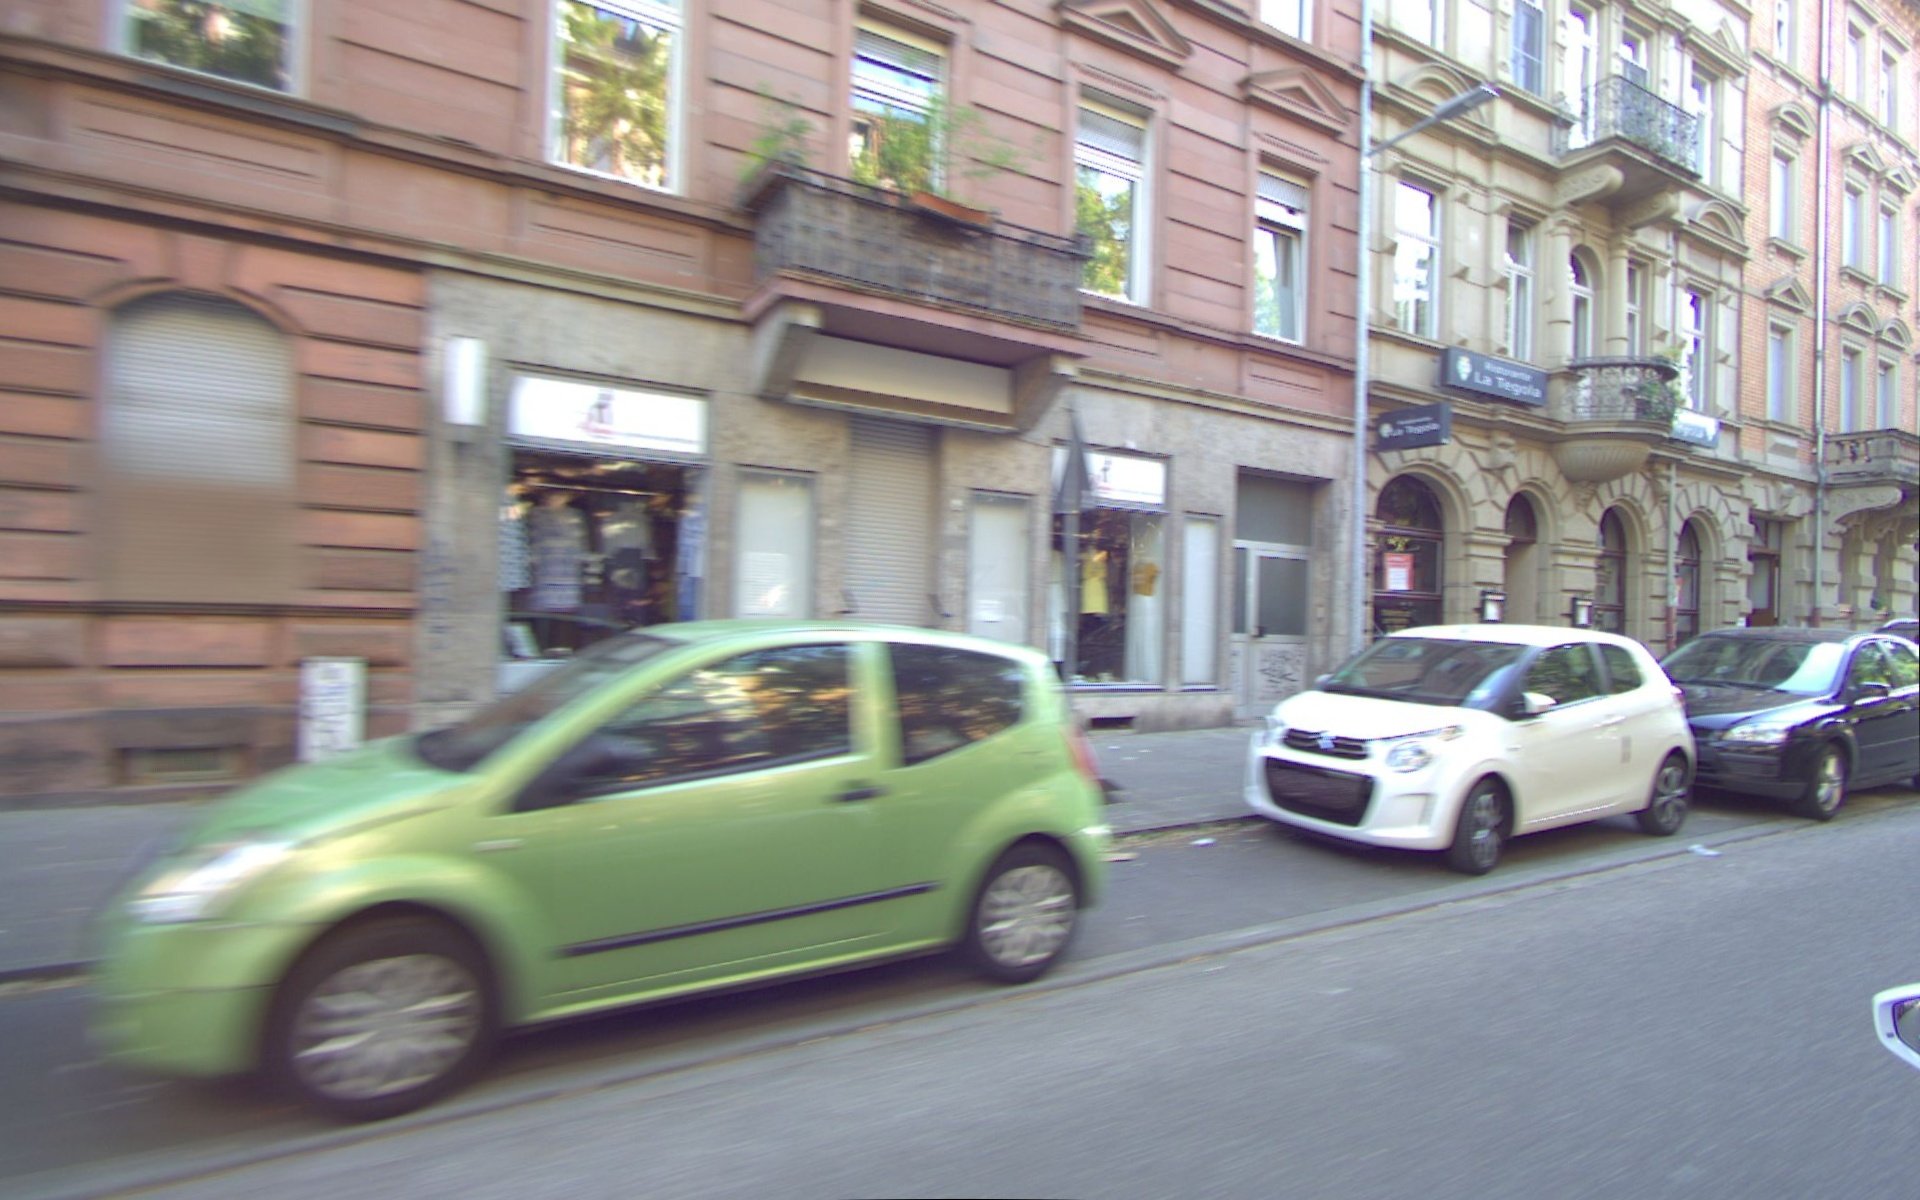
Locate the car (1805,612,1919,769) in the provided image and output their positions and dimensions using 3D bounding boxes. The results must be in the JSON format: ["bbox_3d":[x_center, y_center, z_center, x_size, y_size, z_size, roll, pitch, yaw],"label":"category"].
[{"bbox_3d":[11.615,1.000,11.732,4.008,1.595,1.636,1,2,-35],"label":"car"}]

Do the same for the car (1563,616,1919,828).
[{"bbox_3d":[7.476,0.961,9.201,3.954,1.493,1.639,1,2,-31],"label":"car"}]

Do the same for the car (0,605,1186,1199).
[{"bbox_3d":[-1.108,0.787,4.179,3.913,1.458,1.697,1,-1,-31],"label":"car"}]

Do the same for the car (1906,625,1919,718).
[{"bbox_3d":[17.842,1.197,15.873,1.808,1.550,3.960,1,-1,-36],"label":"car"}]

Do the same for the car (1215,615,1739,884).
[{"bbox_3d":[3.860,0.887,7.319,3.954,1.492,1.574,1,-1,-31],"label":"car"}]
